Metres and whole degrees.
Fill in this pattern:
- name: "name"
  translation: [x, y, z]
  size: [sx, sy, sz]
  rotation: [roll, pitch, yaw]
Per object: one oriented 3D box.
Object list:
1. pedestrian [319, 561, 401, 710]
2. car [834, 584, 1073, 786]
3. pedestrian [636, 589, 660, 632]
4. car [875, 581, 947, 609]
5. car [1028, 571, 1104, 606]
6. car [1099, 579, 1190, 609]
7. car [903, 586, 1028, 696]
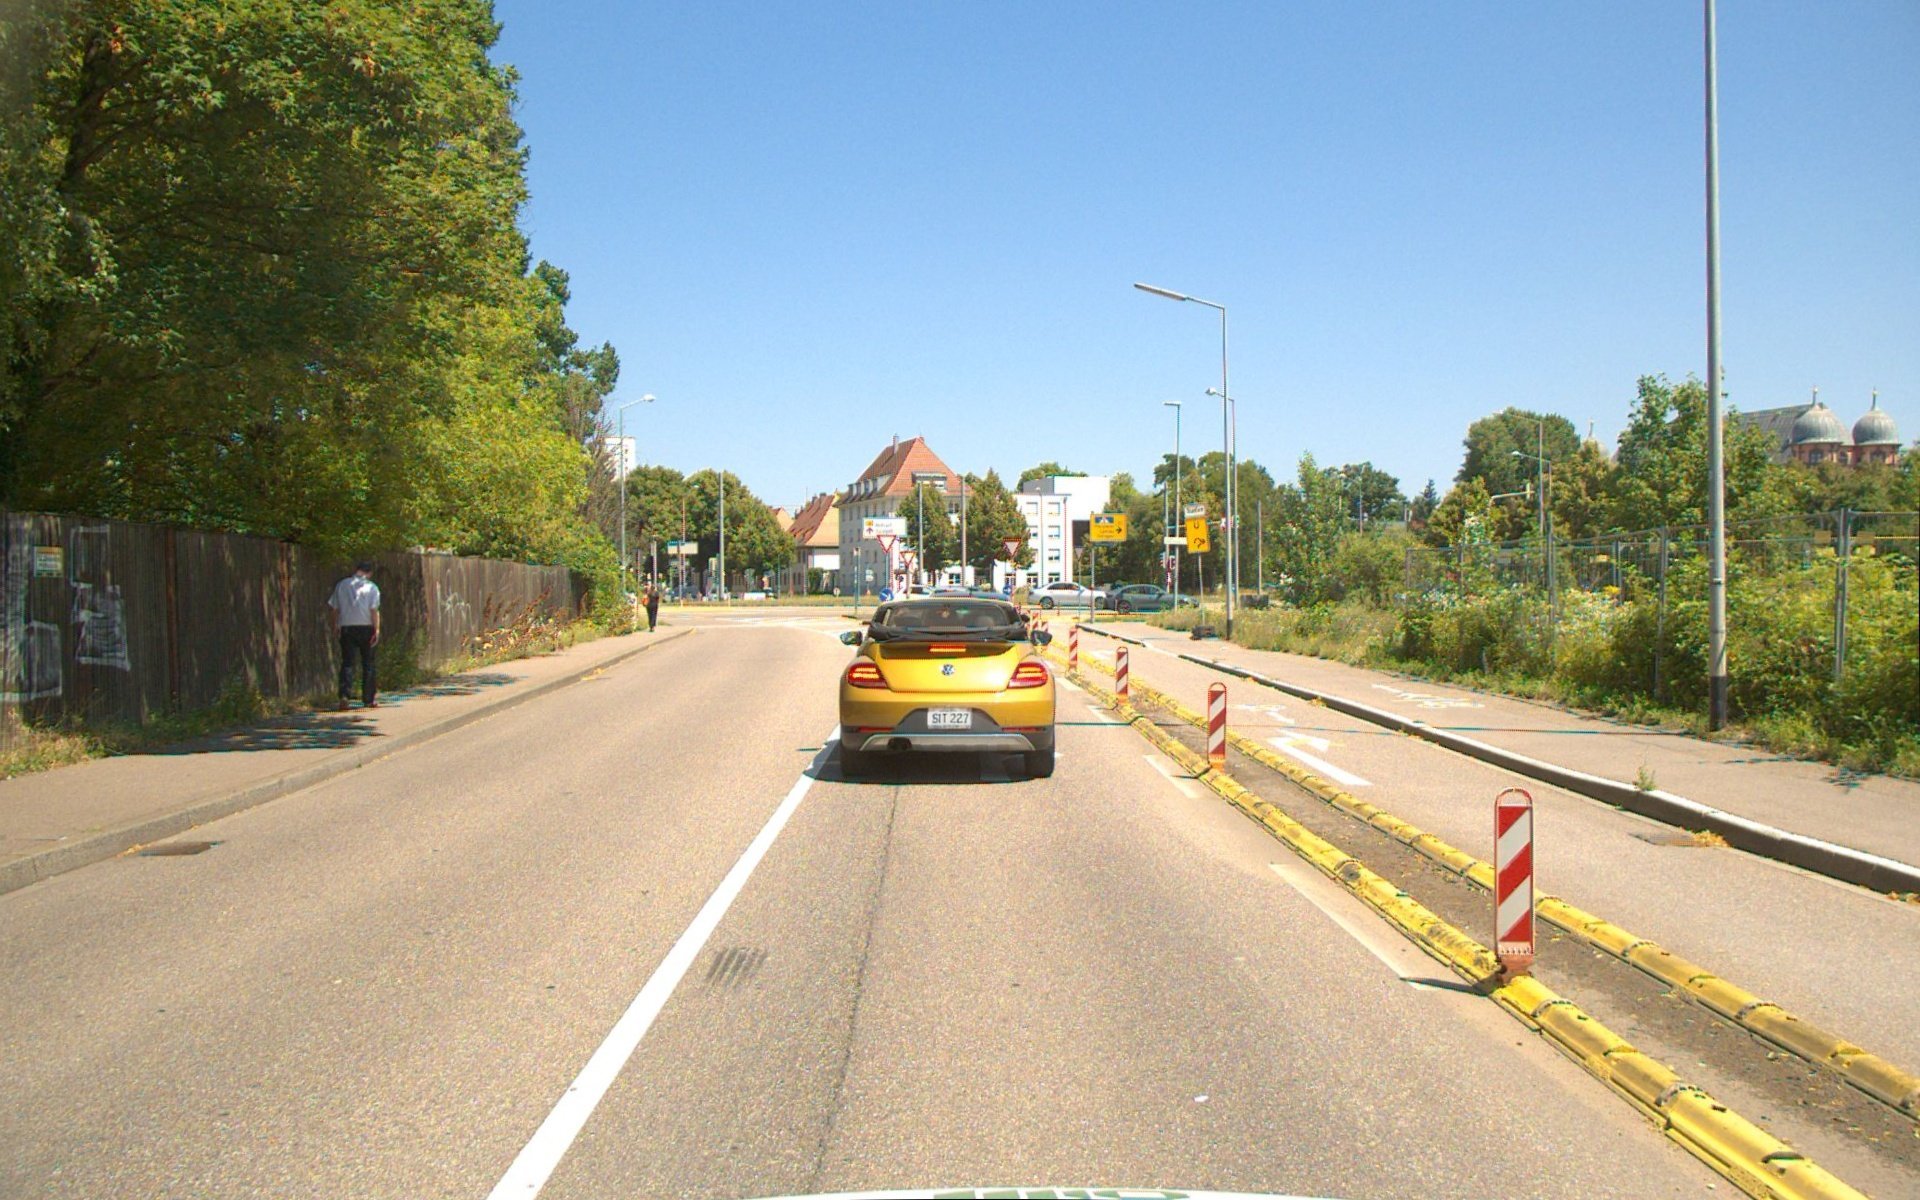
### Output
- name: "pedestrian"
  translation: [-7.256, 0.411, 20.032]
  size: [0.708, 1.755, 0.817]
  rotation: [-1, 0, -5]
- name: "car"
  translation: [-0.114, 0.613, 14.249]
  size: [1.754, 1.461, 3.812]
  rotation: [-1, 1, -2]
- name: "pedestrian"
  translation: [-10.826, 0.359, 57.331]
  size: [0.708, 1.479, 0.817]
  rotation: [-1, 0, -5]
- name: "car"
  translation: [-2.409, -0.258, 81.961]
  size: [3.364, 1.298, 1.203]
  rotation: [-1, 1, 9]
- name: "car"
  translation: [5.702, -0.617, 88.813]
  size: [3.986, 1.774, 1.568]
  rotation: [-1, 1, 8]
- name: "car"
  translation: [8.992, -0.299, 80.566]
  size: [4.345, 1.381, 1.538]
  rotation: [-1, 1, 7]
- name: "car"
  translation: [0.063, 0.548, 24.681]
  size: [1.691, 1.468, 4.000]
  rotation: [-1, 1, 0]
